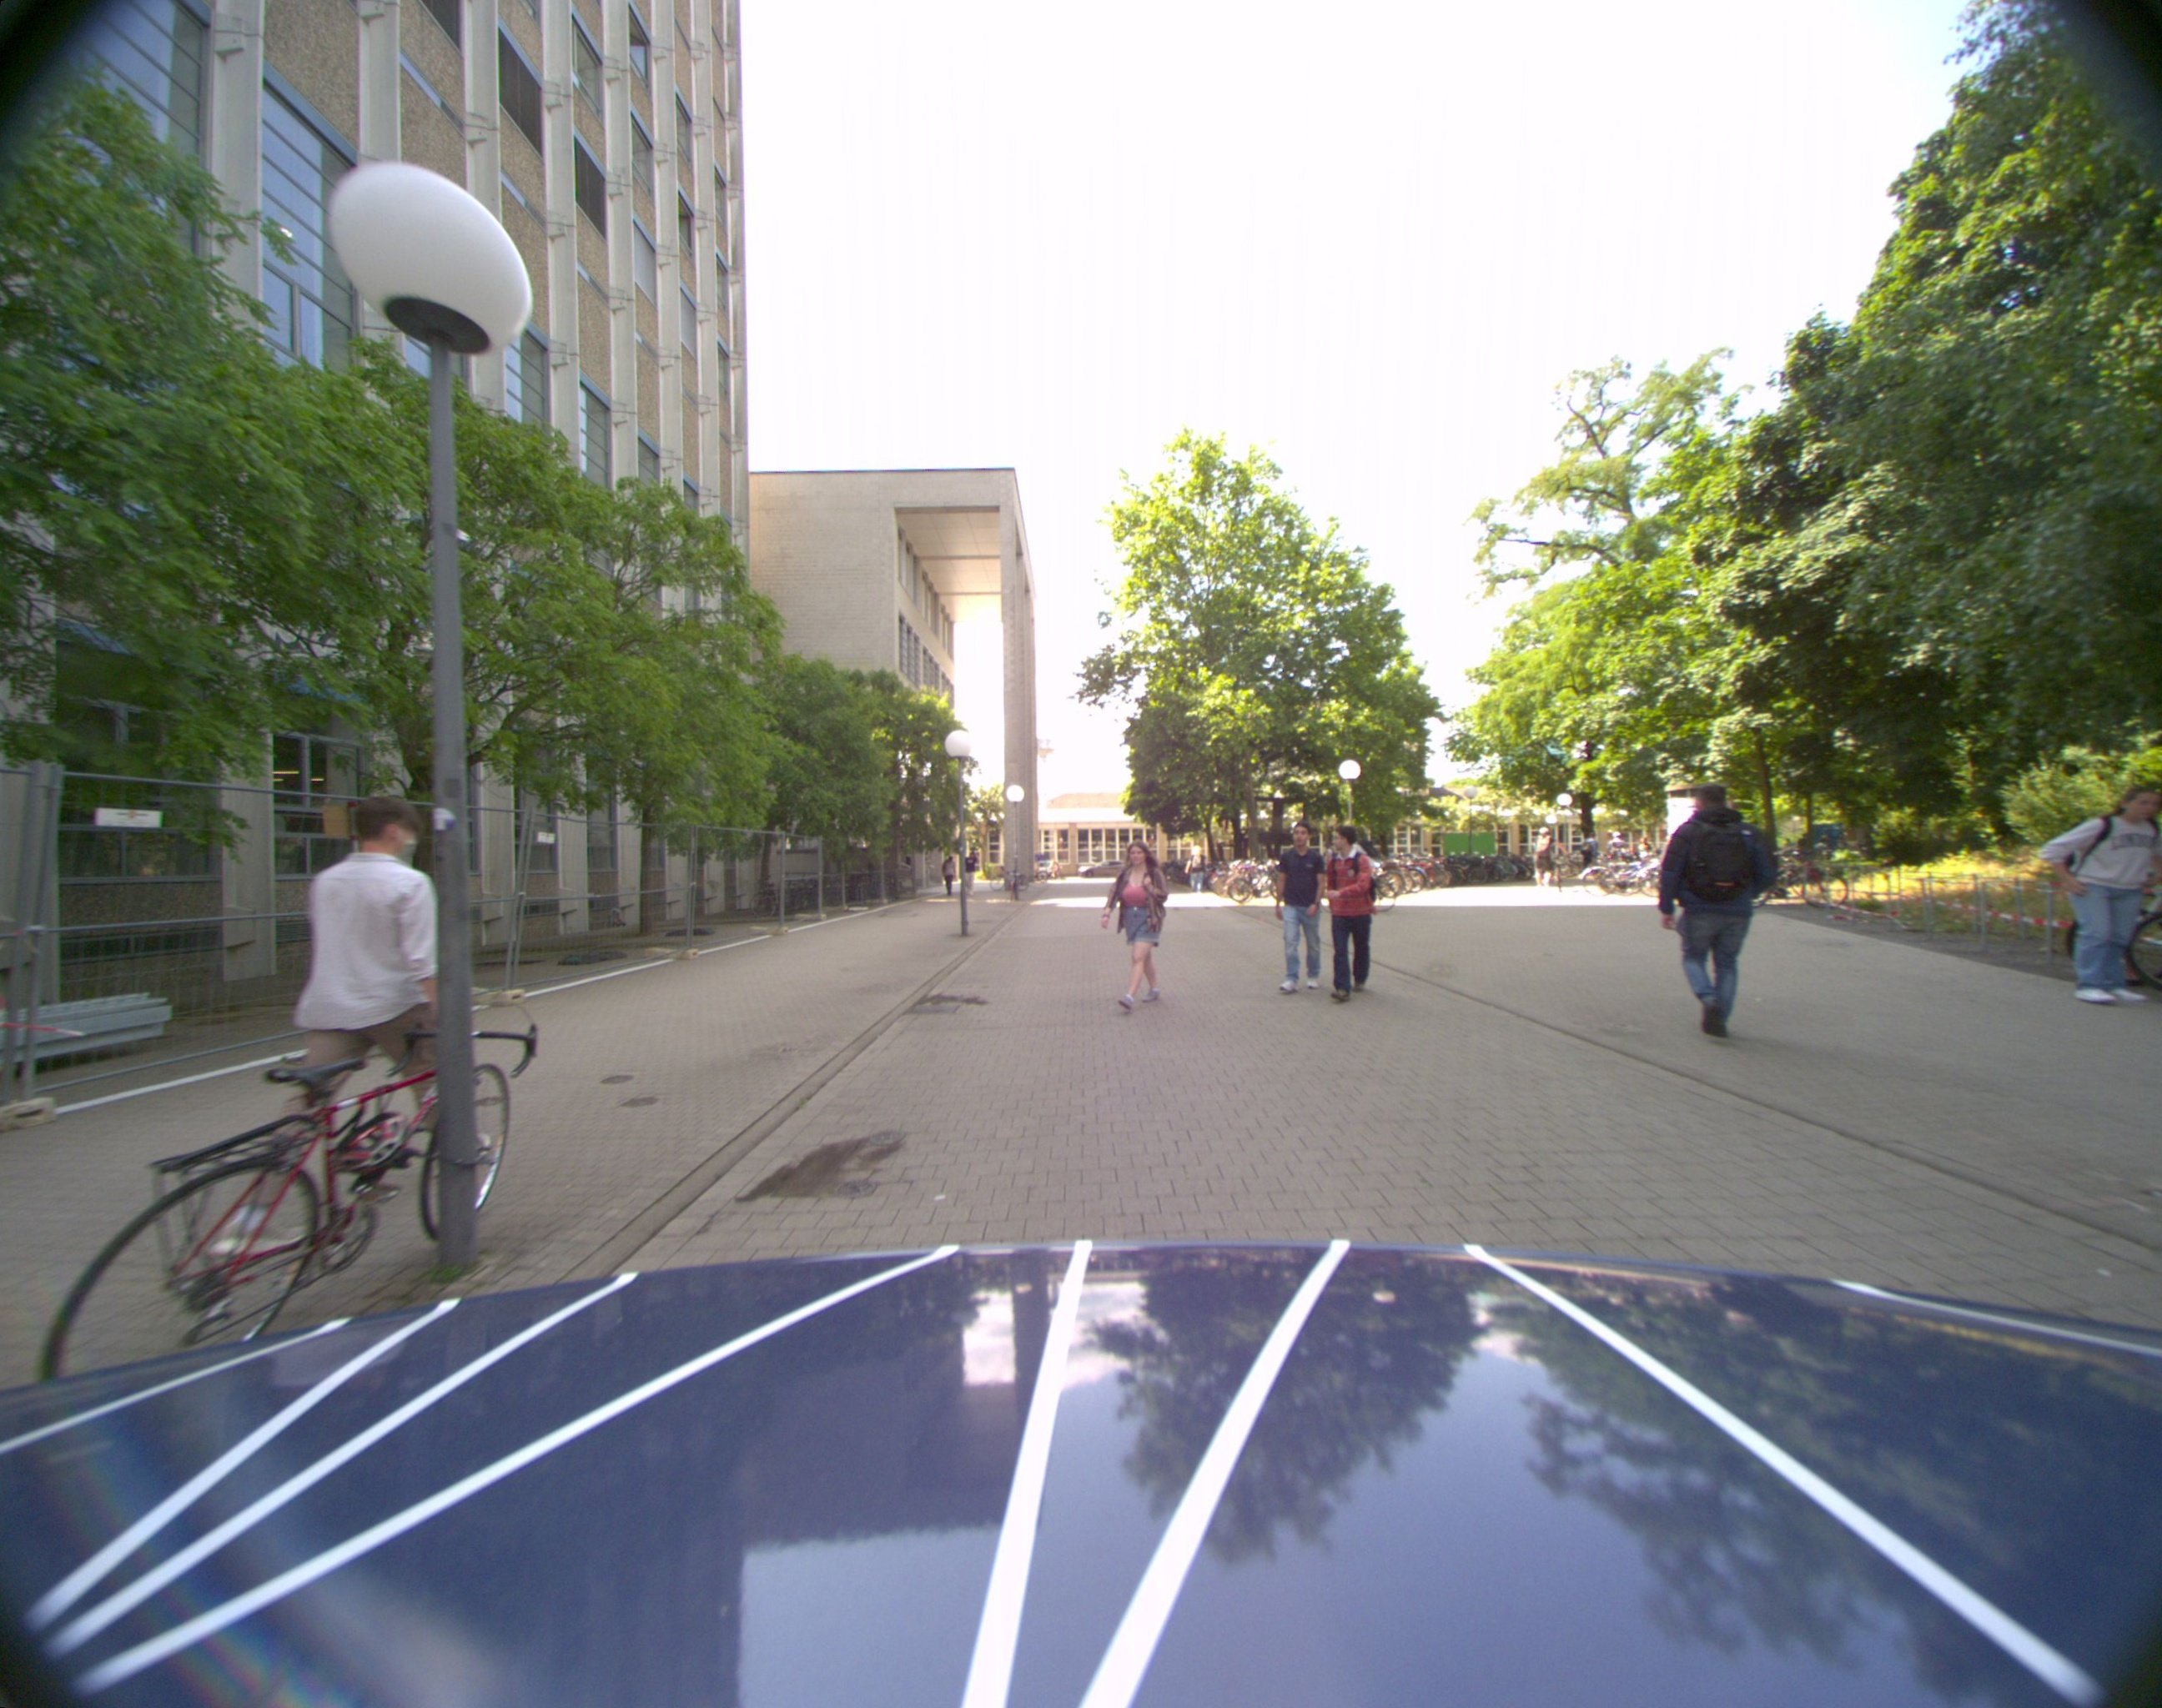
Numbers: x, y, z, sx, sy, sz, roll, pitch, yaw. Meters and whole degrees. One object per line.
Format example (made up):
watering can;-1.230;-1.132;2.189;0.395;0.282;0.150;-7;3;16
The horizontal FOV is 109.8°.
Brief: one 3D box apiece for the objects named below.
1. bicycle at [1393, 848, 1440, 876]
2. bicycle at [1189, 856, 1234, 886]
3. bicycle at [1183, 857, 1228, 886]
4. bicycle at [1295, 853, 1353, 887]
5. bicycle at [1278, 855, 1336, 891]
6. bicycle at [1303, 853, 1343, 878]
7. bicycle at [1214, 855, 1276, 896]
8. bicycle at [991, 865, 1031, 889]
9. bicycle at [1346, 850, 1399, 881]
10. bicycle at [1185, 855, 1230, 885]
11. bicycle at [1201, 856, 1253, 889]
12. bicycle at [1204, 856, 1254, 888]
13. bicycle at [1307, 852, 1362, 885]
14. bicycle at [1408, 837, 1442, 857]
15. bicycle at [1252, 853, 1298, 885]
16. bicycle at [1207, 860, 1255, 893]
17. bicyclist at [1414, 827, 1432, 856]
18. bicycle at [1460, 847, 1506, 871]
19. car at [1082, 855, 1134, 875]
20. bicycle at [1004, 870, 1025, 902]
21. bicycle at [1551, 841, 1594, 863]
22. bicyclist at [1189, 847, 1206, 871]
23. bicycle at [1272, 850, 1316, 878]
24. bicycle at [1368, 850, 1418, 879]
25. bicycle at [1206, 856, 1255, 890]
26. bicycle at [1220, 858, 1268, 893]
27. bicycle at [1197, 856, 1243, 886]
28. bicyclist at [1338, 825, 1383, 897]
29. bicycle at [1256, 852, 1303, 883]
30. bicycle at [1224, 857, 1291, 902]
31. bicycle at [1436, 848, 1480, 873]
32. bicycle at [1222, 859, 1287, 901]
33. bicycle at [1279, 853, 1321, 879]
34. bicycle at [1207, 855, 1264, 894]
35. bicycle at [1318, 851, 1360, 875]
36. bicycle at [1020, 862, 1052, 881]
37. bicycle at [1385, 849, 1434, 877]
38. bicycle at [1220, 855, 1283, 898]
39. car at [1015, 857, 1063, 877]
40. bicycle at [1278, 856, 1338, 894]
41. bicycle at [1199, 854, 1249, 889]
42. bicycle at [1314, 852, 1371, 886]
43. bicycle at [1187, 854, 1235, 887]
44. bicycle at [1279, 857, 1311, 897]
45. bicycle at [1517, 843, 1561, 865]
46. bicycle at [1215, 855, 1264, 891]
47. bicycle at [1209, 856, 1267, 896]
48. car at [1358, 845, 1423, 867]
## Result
bicycle;13.681;0.346;30.980;0.475;1.077;1.695;-3;1;-37
bicycle;5.231;0.670;30.445;1.700;1.101;0.473;-3;1;-12
bicycle;5.152;0.706;31.429;1.700;1.101;0.496;-3;1;-10
bicycle;7.982;0.538;24.972;1.695;1.077;0.475;-2;1;35
bicycle;7.220;0.604;24.312;1.696;1.077;0.474;-3;1;14
bicycle;11.224;0.521;35.256;1.695;1.101;0.504;-2;1;40
bicycle;4.967;0.664;23.067;1.778;1.161;0.474;-3;1;13
bicycle;-3.111;1.035;33.816;1.743;1.033;0.449;-1;-1;-4
bicycle;10.562;0.419;27.573;1.695;1.077;0.475;-2;1;36
bicycle;5.130;0.654;30.903;1.700;1.139;0.473;-3;1;-12
bicycle;5.295;0.674;27.562;1.700;1.101;0.582;-3;1;-11
bicycle;5.580;0.665;28.642;1.700;1.101;0.565;-3;1;-11
bicycle;8.729;0.501;26.155;1.695;1.077;0.475;-2;1;31
bicycle;22.788;-0.462;50.370;1.884;1.164;0.806;-4;-1;9
bicycle;7.879;0.607;30.823;1.700;1.213;0.502;-3;1;-11
bicycle;5.057;0.748;25.568;1.702;1.013;0.473;-3;1;-34
bicyclist;22.664;-0.818;50.386;0.866;1.880;0.806;-2;0;10
bicycle;18.894;0.243;35.763;0.475;1.077;1.854;-3;1;-37
car;2.210;0.881;62.679;4.208;1.468;1.653;-2;2;0
bicycle;-2.351;1.109;26.990;0.538;1.033;1.858;-1;0;0
bicycle;26.004;-0.102;40.233;0.475;1.077;1.854;-3;1;-37
bicyclist;8.530;0.345;55.550;0.913;1.706;0.772;-2;2;-39
bicycle;9.314;0.444;33.238;1.695;1.193;0.577;-2;1;36
bicycle;11.975;0.401;29.187;1.695;1.077;0.475;-2;1;45
bicycle;5.291;0.659;26.830;1.702;1.101;0.473;-3;1;-27
bicycle;5.428;0.697;25.214;1.702;1.055;0.473;-3;1;-34
bicycle;5.500;0.654;30.071;1.700;1.101;0.473;-3;1;-11
bicyclist;6.262;0.146;17.037;0.721;1.559;0.595;-3;1;-4
bicycle;7.767;0.516;29.763;1.700;1.101;0.502;-3;1;-11
bicycle;4.866;0.696;20.986;1.699;1.152;0.474;-3;1;-8
bicycle;16.960;0.300;34.216;0.475;1.077;1.695;-3;1;-37
bicycle;4.893;0.725;21.455;1.699;1.085;0.474;-3;1;-6
bicycle;9.716;0.553;33.719;1.695;1.101;0.504;-2;1;36
bicycle;4.942;0.654;24.320;1.700;1.161;0.473;-3;1;-17
bicycle;12.219;0.439;36.020;1.695;1.101;0.632;-2;1;40
bicycle;-2.744;1.070;46.220;1.886;1.157;0.605;0;-1;-5
bicycle;12.949;0.364;29.955;1.695;1.077;0.475;-2;1;45
bicycle;4.987;0.663;22.215;1.699;1.161;0.474;-3;1;-6
car;-3.425;1.083;62.528;3.776;1.468;1.653;-2;2;0
bicycle;6.927;0.629;23.241;1.697;1.077;0.474;-3;1;13
bicycle;5.287;0.641;28.090;1.700;1.181;0.473;-3;1;-11
bicycle;8.780;0.522;25.543;1.695;1.077;0.475;-2;1;31
bicycle;5.049;0.639;29.473;1.699;1.191;0.536;-3;1;-8
bicycle;6.224;0.644;22.127;0.508;1.077;1.700;-3;0;3
bicycle;23.543;0.017;39.095;0.475;1.077;1.854;-3;1;-37
bicycle;5.504;0.652;26.417;1.702;1.151;0.473;-3;1;-27
bicycle;4.913;0.688;23.778;1.700;1.161;0.473;-3;1;-12
car;25.498;0.146;62.662;4.536;1.608;1.837;-2;1;-2
